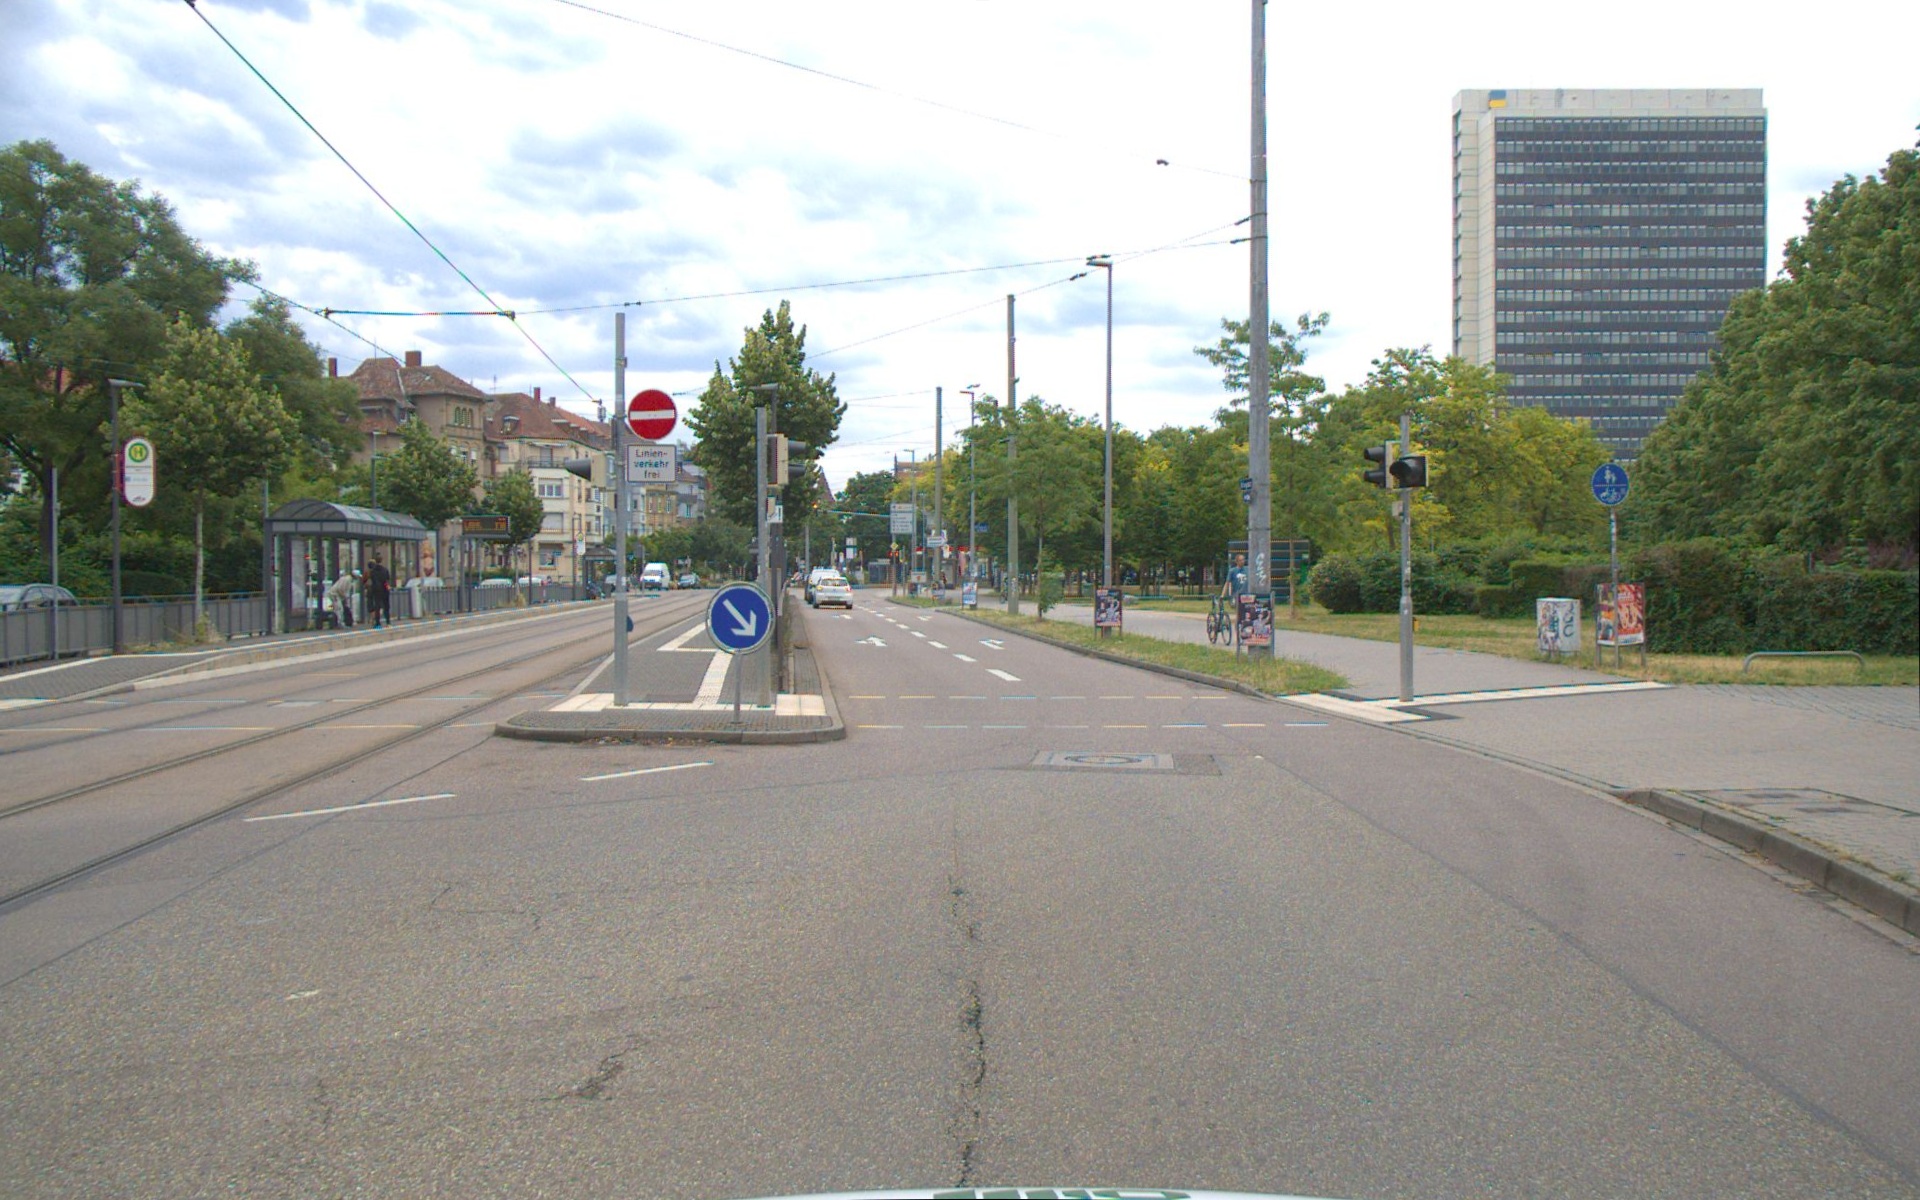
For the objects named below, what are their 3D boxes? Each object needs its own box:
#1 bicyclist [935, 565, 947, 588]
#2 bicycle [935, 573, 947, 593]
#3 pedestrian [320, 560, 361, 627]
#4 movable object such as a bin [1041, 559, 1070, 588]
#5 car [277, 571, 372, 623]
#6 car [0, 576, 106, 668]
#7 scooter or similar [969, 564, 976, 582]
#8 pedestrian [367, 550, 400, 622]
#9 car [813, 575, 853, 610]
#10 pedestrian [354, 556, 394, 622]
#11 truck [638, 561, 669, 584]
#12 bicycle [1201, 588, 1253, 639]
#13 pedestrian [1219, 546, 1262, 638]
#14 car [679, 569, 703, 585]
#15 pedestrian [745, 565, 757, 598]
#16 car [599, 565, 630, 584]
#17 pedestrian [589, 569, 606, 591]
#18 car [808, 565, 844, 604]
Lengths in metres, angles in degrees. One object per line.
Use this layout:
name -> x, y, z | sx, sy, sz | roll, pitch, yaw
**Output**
bicyclist -> -1.170, -1.461, 101.781 | 0.665, 1.403, 0.727 | -1, 1, -2
bicycle -> -1.150, -1.050, 101.781 | 0.665, 1.175, 1.897 | -1, 1, -2
pedestrian -> -15.328, -0.165, 40.918 | 0.663, 1.652, 0.634 | -1, 1, 17
movable object such as a bin -> 4.629, -1.283, 80.420 | 1.257, 1.414, 1.158 | 0, 1, -5
car -> -19.344, -0.119, 50.522 | 1.736, 1.519, 3.882 | -1, 1, -6
car -> -16.902, 0.338, 29.369 | 1.738, 1.519, 4.528 | -1, 1, -9
scooter or similar -> 0.795, -1.732, 106.347 | 0.368, 1.160, 1.200 | -1, 1, 5
pedestrian -> -14.137, -0.346, 40.572 | 0.688, 1.745, 0.696 | -1, 1, -14
car -> -5.687, -0.342, 74.585 | 1.747, 1.498, 4.007 | 0, 1, -4
pedestrian -> -15.393, -0.302, 43.458 | 0.754, 1.689, 1.023 | -1, 1, -9
truck -> -27.759, -2.501, 149.805 | 1.751, 2.068, 5.396 | 0, 1, 0
bicycle -> 5.586, 0.271, 34.687 | 0.641, 1.020, 1.777 | -1, 1, -6
pedestrian -> 5.908, -0.178, 34.839 | 0.725, 1.902, 0.681 | -1, 1, -7
car -> -26.712, -2.277, 164.509 | 1.734, 1.519, 3.887 | 0, 1, 0
pedestrian -> -10.154, -0.917, 80.305 | 0.521, 1.585, 0.570 | -1, 1, -2
car -> -28.744, -2.119, 137.578 | 1.734, 1.519, 3.887 | 0, 1, 0
pedestrian -> -20.967, -1.153, 95.679 | 0.848, 1.289, 0.692 | -1, 1, -8
car -> -7.164, -0.841, 88.216 | 1.748, 1.996, 4.377 | 0, 1, -6
